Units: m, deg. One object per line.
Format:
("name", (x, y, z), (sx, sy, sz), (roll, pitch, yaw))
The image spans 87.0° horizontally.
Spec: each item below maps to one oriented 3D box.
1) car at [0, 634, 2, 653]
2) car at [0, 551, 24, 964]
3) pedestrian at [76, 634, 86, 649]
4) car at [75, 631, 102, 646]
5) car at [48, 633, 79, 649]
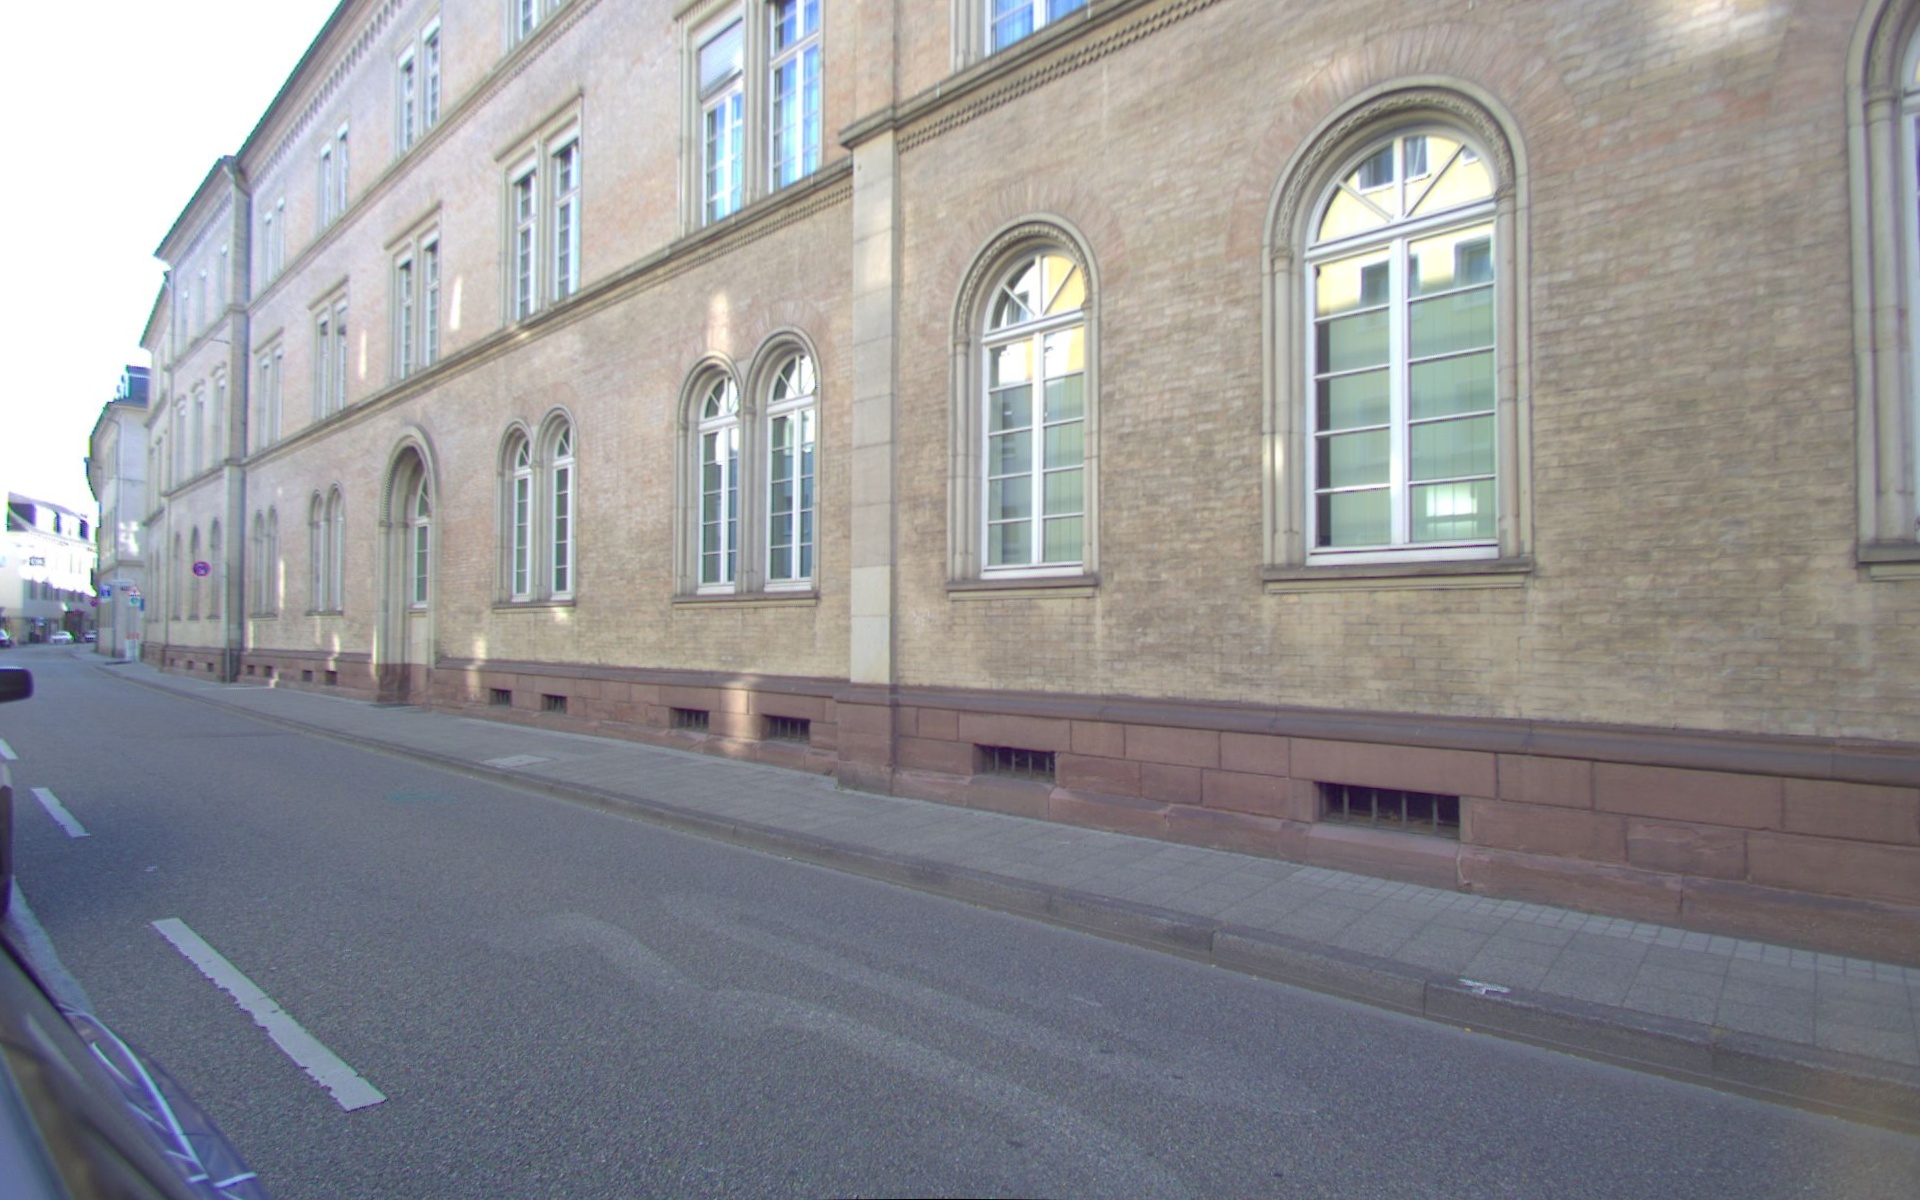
("car", (-86.620, 3.920, 89.947), (1.969, 1.665, 4.235), (-1, 0, -41))
("car", (-6.683, 0.691, 5.524), (5.329, 1.784, 1.747), (-1, -2, 41))
("pedestrian", (-96.907, 4.577, 111.565), (0.694, 1.648, 0.834), (5, -4, -38))
("car", (-109.236, 4.797, 126.824), (1.966, 1.665, 4.240), (-1, 0, -33))
("car", (-102.862, 4.717, 116.171), (1.966, 1.665, 4.240), (-1, 0, -33))
